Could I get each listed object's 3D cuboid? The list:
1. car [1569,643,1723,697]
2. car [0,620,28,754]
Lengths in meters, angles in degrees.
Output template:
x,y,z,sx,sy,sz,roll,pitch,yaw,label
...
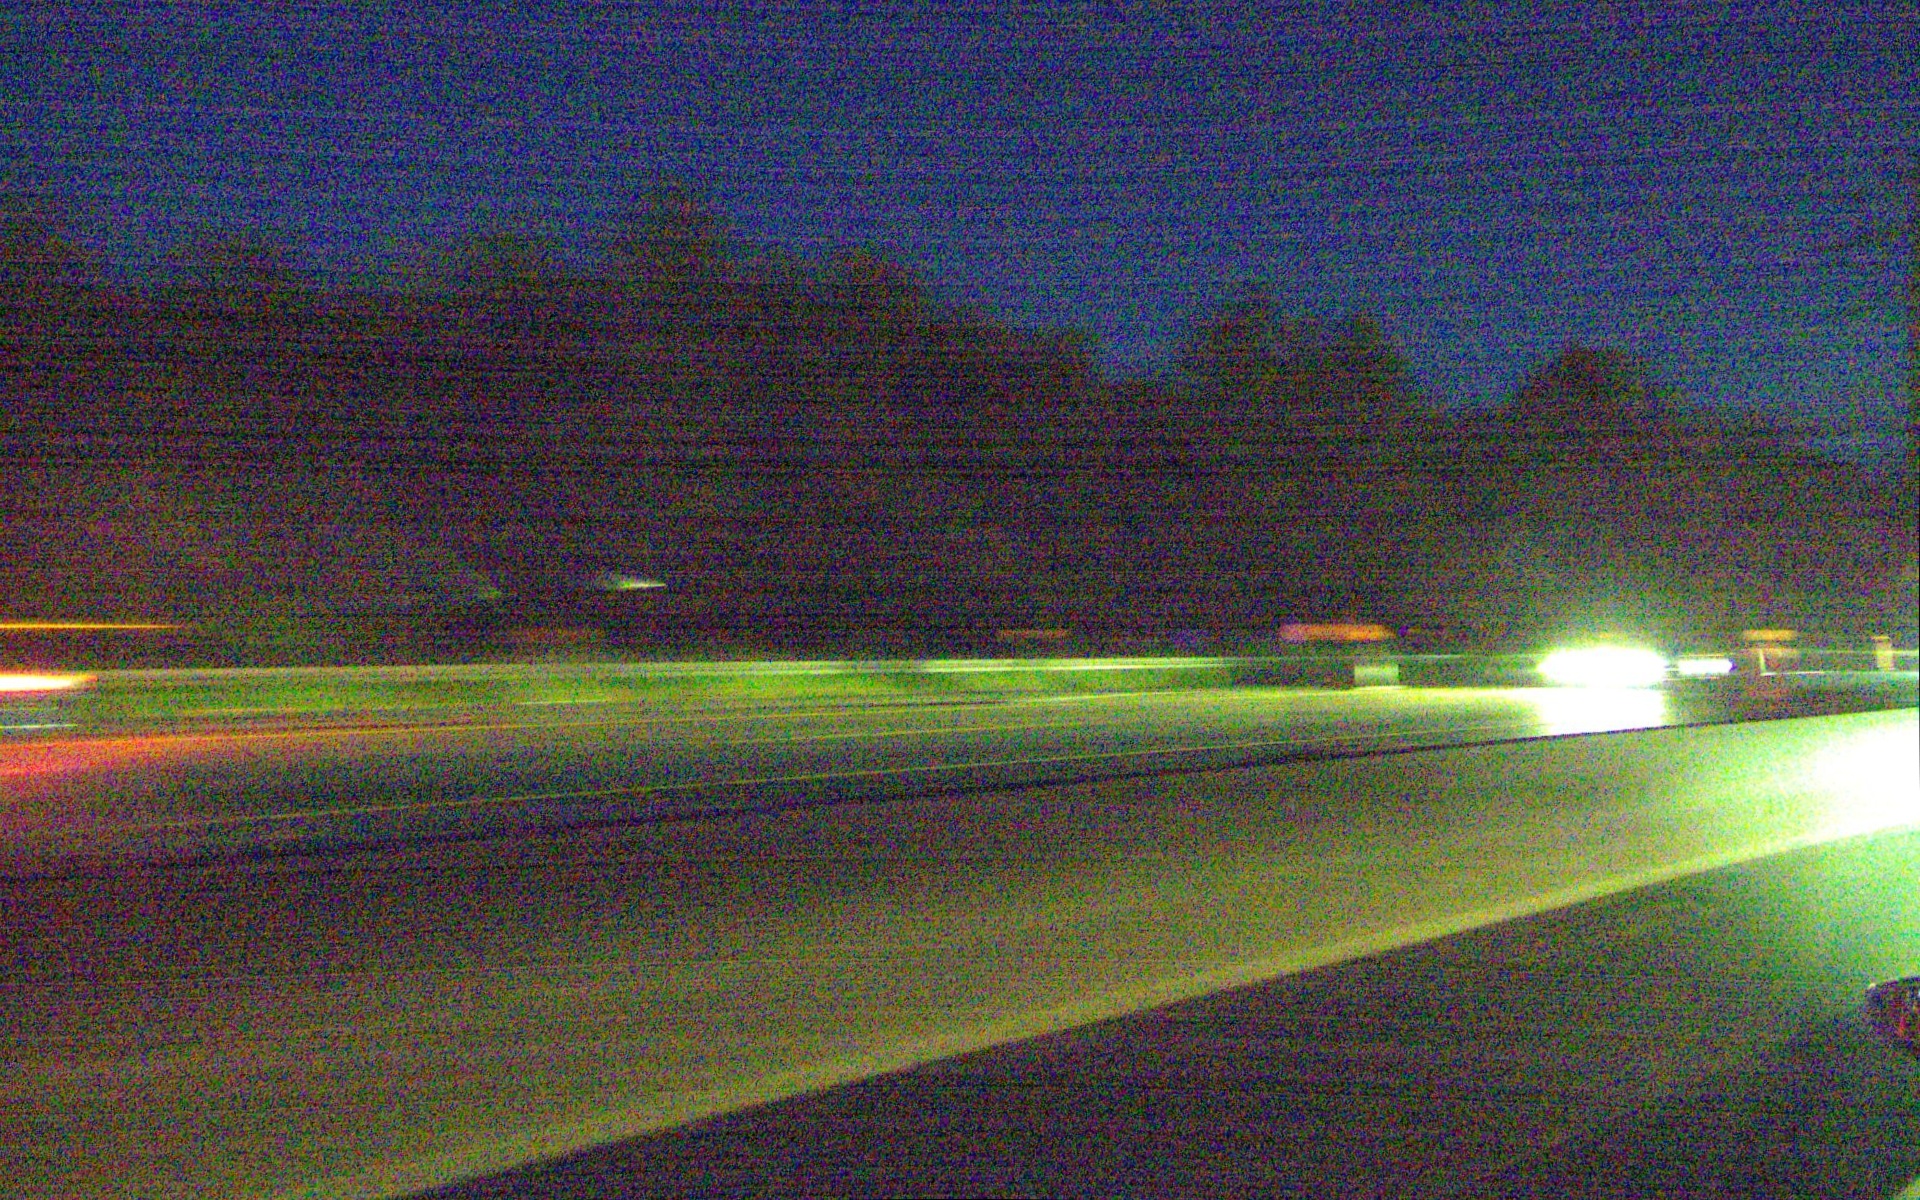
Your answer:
x,y,z,sx,sy,sz,roll,pitch,yaw,label
18.669,1.844,27.278,4.755,1.351,1.653,2,-3,-32,car
-12.671,0.916,9.961,4.667,1.498,1.744,1,-2,-28,car
